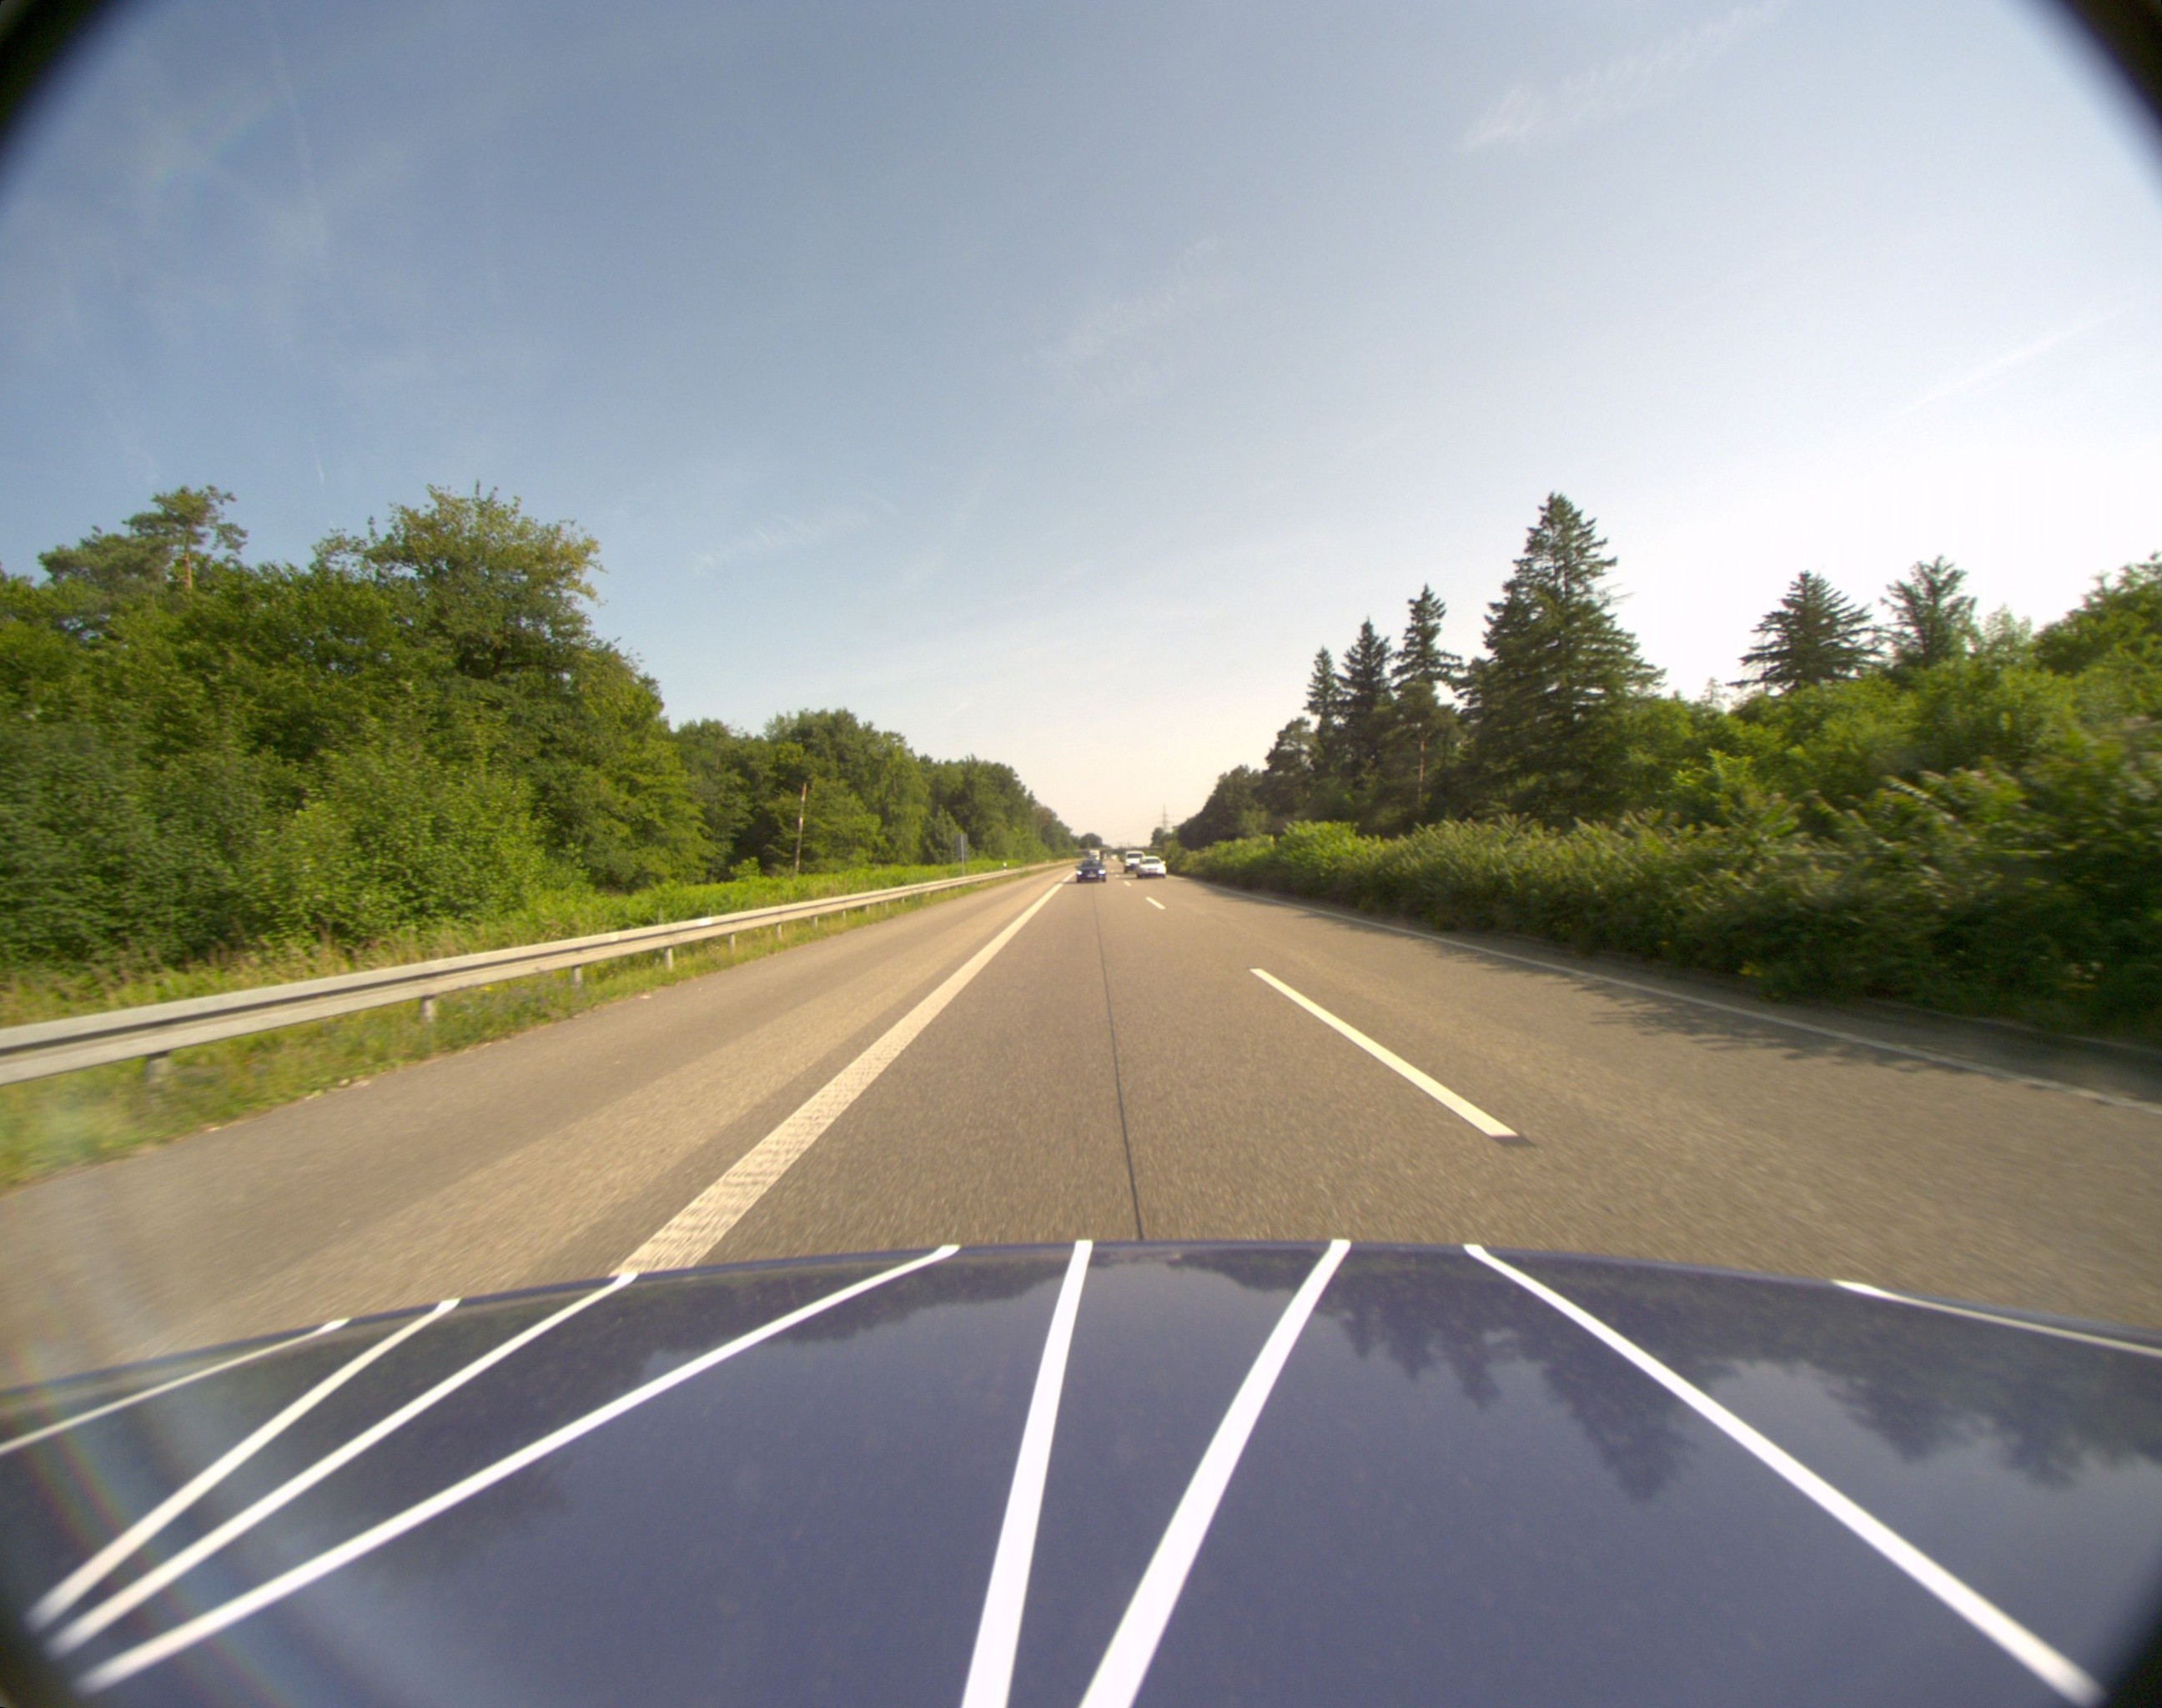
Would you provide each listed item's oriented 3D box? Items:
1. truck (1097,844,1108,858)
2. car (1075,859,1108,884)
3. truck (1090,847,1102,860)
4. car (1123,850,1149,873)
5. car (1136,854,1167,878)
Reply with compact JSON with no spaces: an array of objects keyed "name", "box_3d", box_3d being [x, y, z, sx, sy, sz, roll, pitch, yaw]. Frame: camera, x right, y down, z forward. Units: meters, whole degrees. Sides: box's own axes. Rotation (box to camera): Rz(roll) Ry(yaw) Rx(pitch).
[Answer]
[{"name":"truck","box_3d":[6.581,-0.828,234.228,2.695,4.061,12.364,-2,0,0]},{"name":"car","box_3d":[0.597,0.982,44.096,1.789,1.285,3.538,-2,0,1]},{"name":"truck","box_3d":[3.482,-0.155,180.040,2.695,3.020,10.371,-2,0,0]},{"name":"car","box_3d":[4.977,0.677,69.413,1.912,1.934,4.706,-2,0,-1]},{"name":"car","box_3d":[4.764,0.804,51.896,1.754,1.477,5.264,-2,0,2]}]
